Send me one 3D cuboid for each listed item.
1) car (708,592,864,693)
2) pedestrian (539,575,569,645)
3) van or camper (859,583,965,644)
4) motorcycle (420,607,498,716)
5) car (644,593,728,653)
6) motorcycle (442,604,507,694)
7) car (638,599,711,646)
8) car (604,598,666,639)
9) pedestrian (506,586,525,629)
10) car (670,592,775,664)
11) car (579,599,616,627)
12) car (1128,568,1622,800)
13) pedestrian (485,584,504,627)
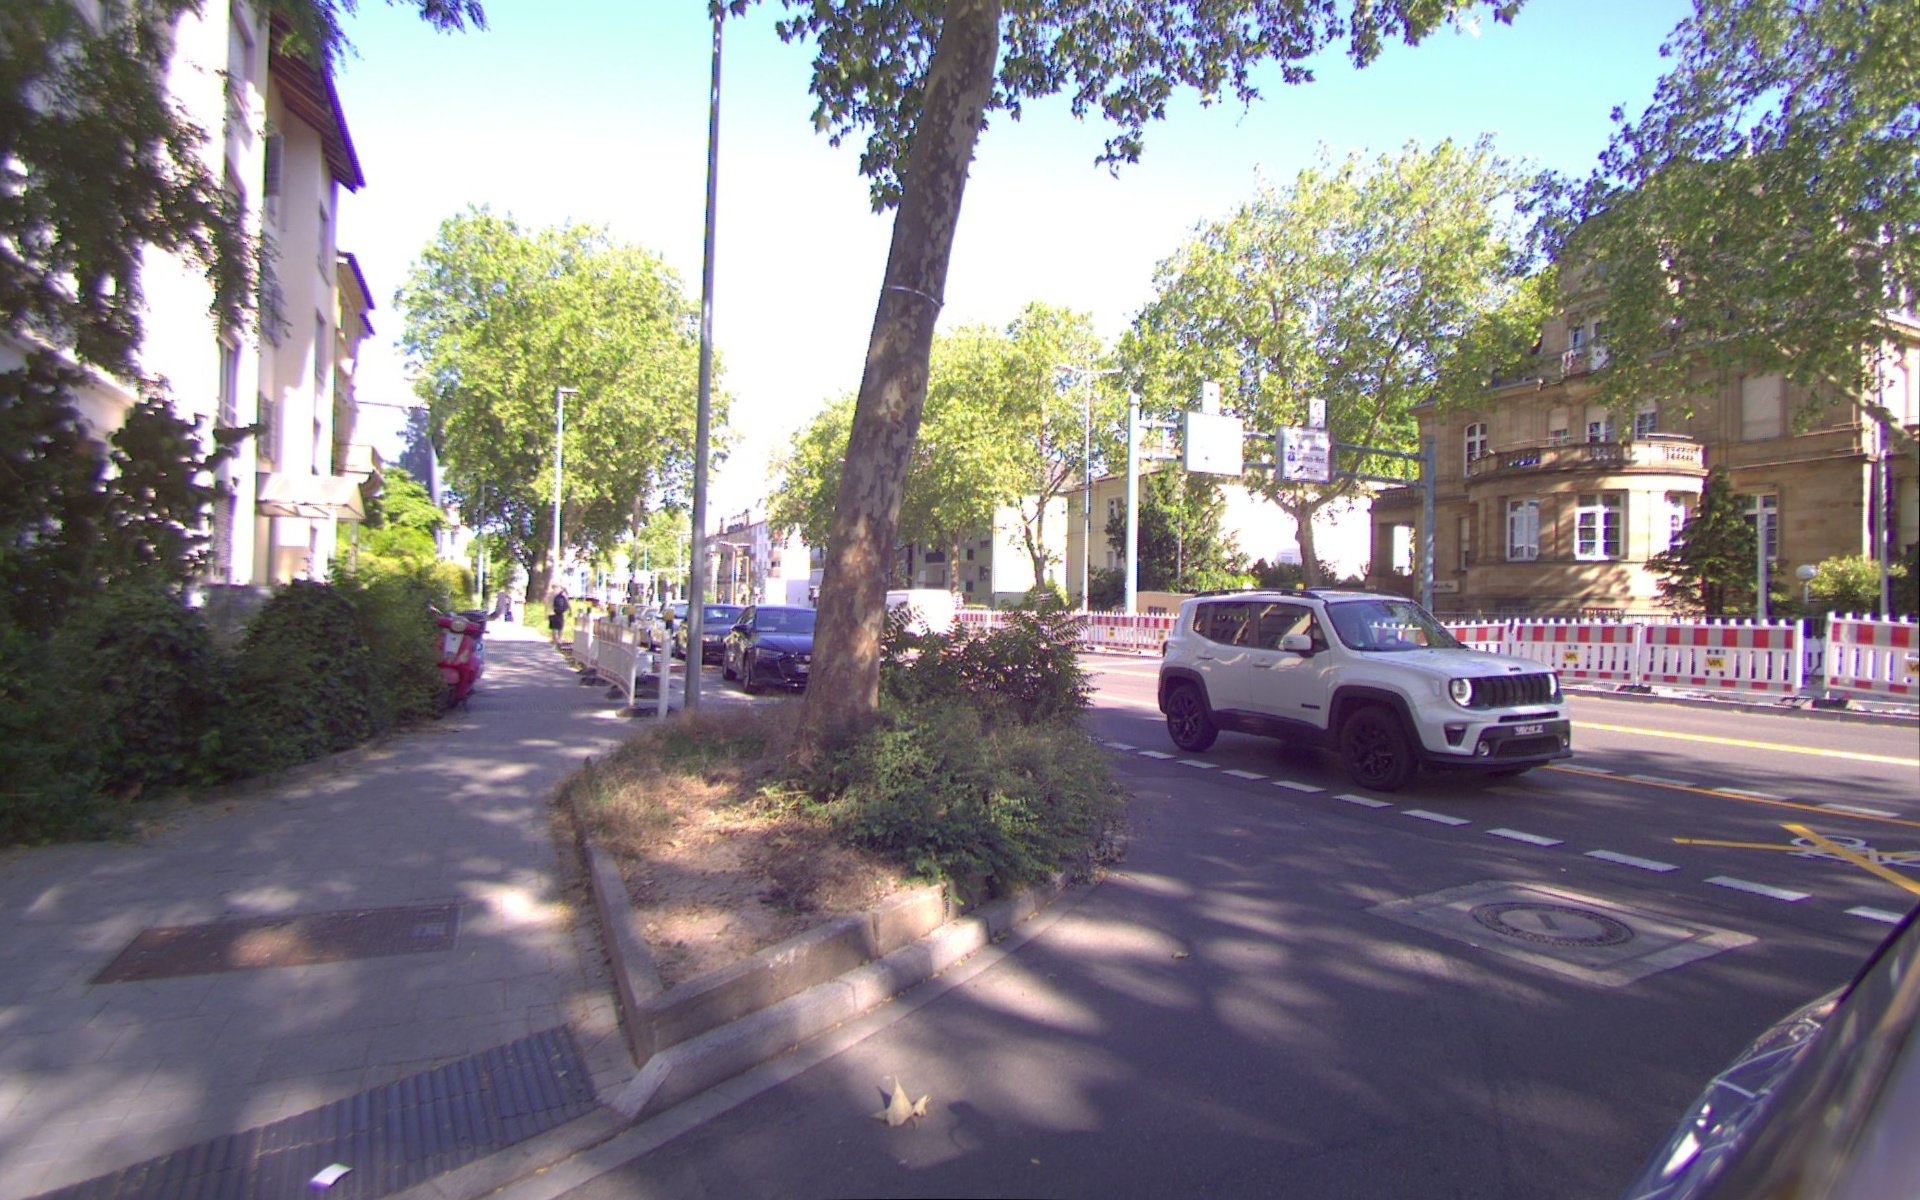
[{"bbox_3d":[-3.120,0.673,17.489,1.591,1.505,4.104,3,-1,-25],"label":"car"},{"bbox_3d":[-11.037,0.274,27.500,0.653,1.873,0.695,2,-1,-25],"label":"pedestrian"},{"bbox_3d":[-1.849,0.432,36.531,1.959,2.039,5.337,0,0,-25],"label":"van or camper"},{"bbox_3d":[-5.906,0.686,11.995,0.586,1.202,1.558,1,-1,-18],"label":"motorcycle"},{"bbox_3d":[-7.628,0.604,27.973,1.591,1.505,3.740,3,-1,-25],"label":"car"},{"bbox_3d":[-6.993,0.672,14.632,0.586,1.202,1.806,1,-1,-18],"label":"motorcycle"},{"bbox_3d":[-9.626,0.718,33.917,1.686,1.431,4.055,3,-1,-25],"label":"car"},{"bbox_3d":[-12.769,0.702,39.621,1.686,1.431,4.483,5,-2,-25],"label":"car"},{"bbox_3d":[-19.285,0.312,43.887,0.684,1.819,0.716,2,-1,-25],"label":"pedestrian"},{"bbox_3d":[-5.679,0.623,23.863,1.591,1.505,4.063,3,-1,-25],"label":"car"},{"bbox_3d":[-21.069,0.762,58.780,1.640,1.537,4.004,2,-1,-25],"label":"car"},{"bbox_3d":[3.725,0.632,10.083,1.831,1.748,4.514,0,0,-25],"label":"car"},{"bbox_3d":[-20.017,0.236,43.502,0.684,1.819,0.803,2,-1,-25],"label":"pedestrian"}]
